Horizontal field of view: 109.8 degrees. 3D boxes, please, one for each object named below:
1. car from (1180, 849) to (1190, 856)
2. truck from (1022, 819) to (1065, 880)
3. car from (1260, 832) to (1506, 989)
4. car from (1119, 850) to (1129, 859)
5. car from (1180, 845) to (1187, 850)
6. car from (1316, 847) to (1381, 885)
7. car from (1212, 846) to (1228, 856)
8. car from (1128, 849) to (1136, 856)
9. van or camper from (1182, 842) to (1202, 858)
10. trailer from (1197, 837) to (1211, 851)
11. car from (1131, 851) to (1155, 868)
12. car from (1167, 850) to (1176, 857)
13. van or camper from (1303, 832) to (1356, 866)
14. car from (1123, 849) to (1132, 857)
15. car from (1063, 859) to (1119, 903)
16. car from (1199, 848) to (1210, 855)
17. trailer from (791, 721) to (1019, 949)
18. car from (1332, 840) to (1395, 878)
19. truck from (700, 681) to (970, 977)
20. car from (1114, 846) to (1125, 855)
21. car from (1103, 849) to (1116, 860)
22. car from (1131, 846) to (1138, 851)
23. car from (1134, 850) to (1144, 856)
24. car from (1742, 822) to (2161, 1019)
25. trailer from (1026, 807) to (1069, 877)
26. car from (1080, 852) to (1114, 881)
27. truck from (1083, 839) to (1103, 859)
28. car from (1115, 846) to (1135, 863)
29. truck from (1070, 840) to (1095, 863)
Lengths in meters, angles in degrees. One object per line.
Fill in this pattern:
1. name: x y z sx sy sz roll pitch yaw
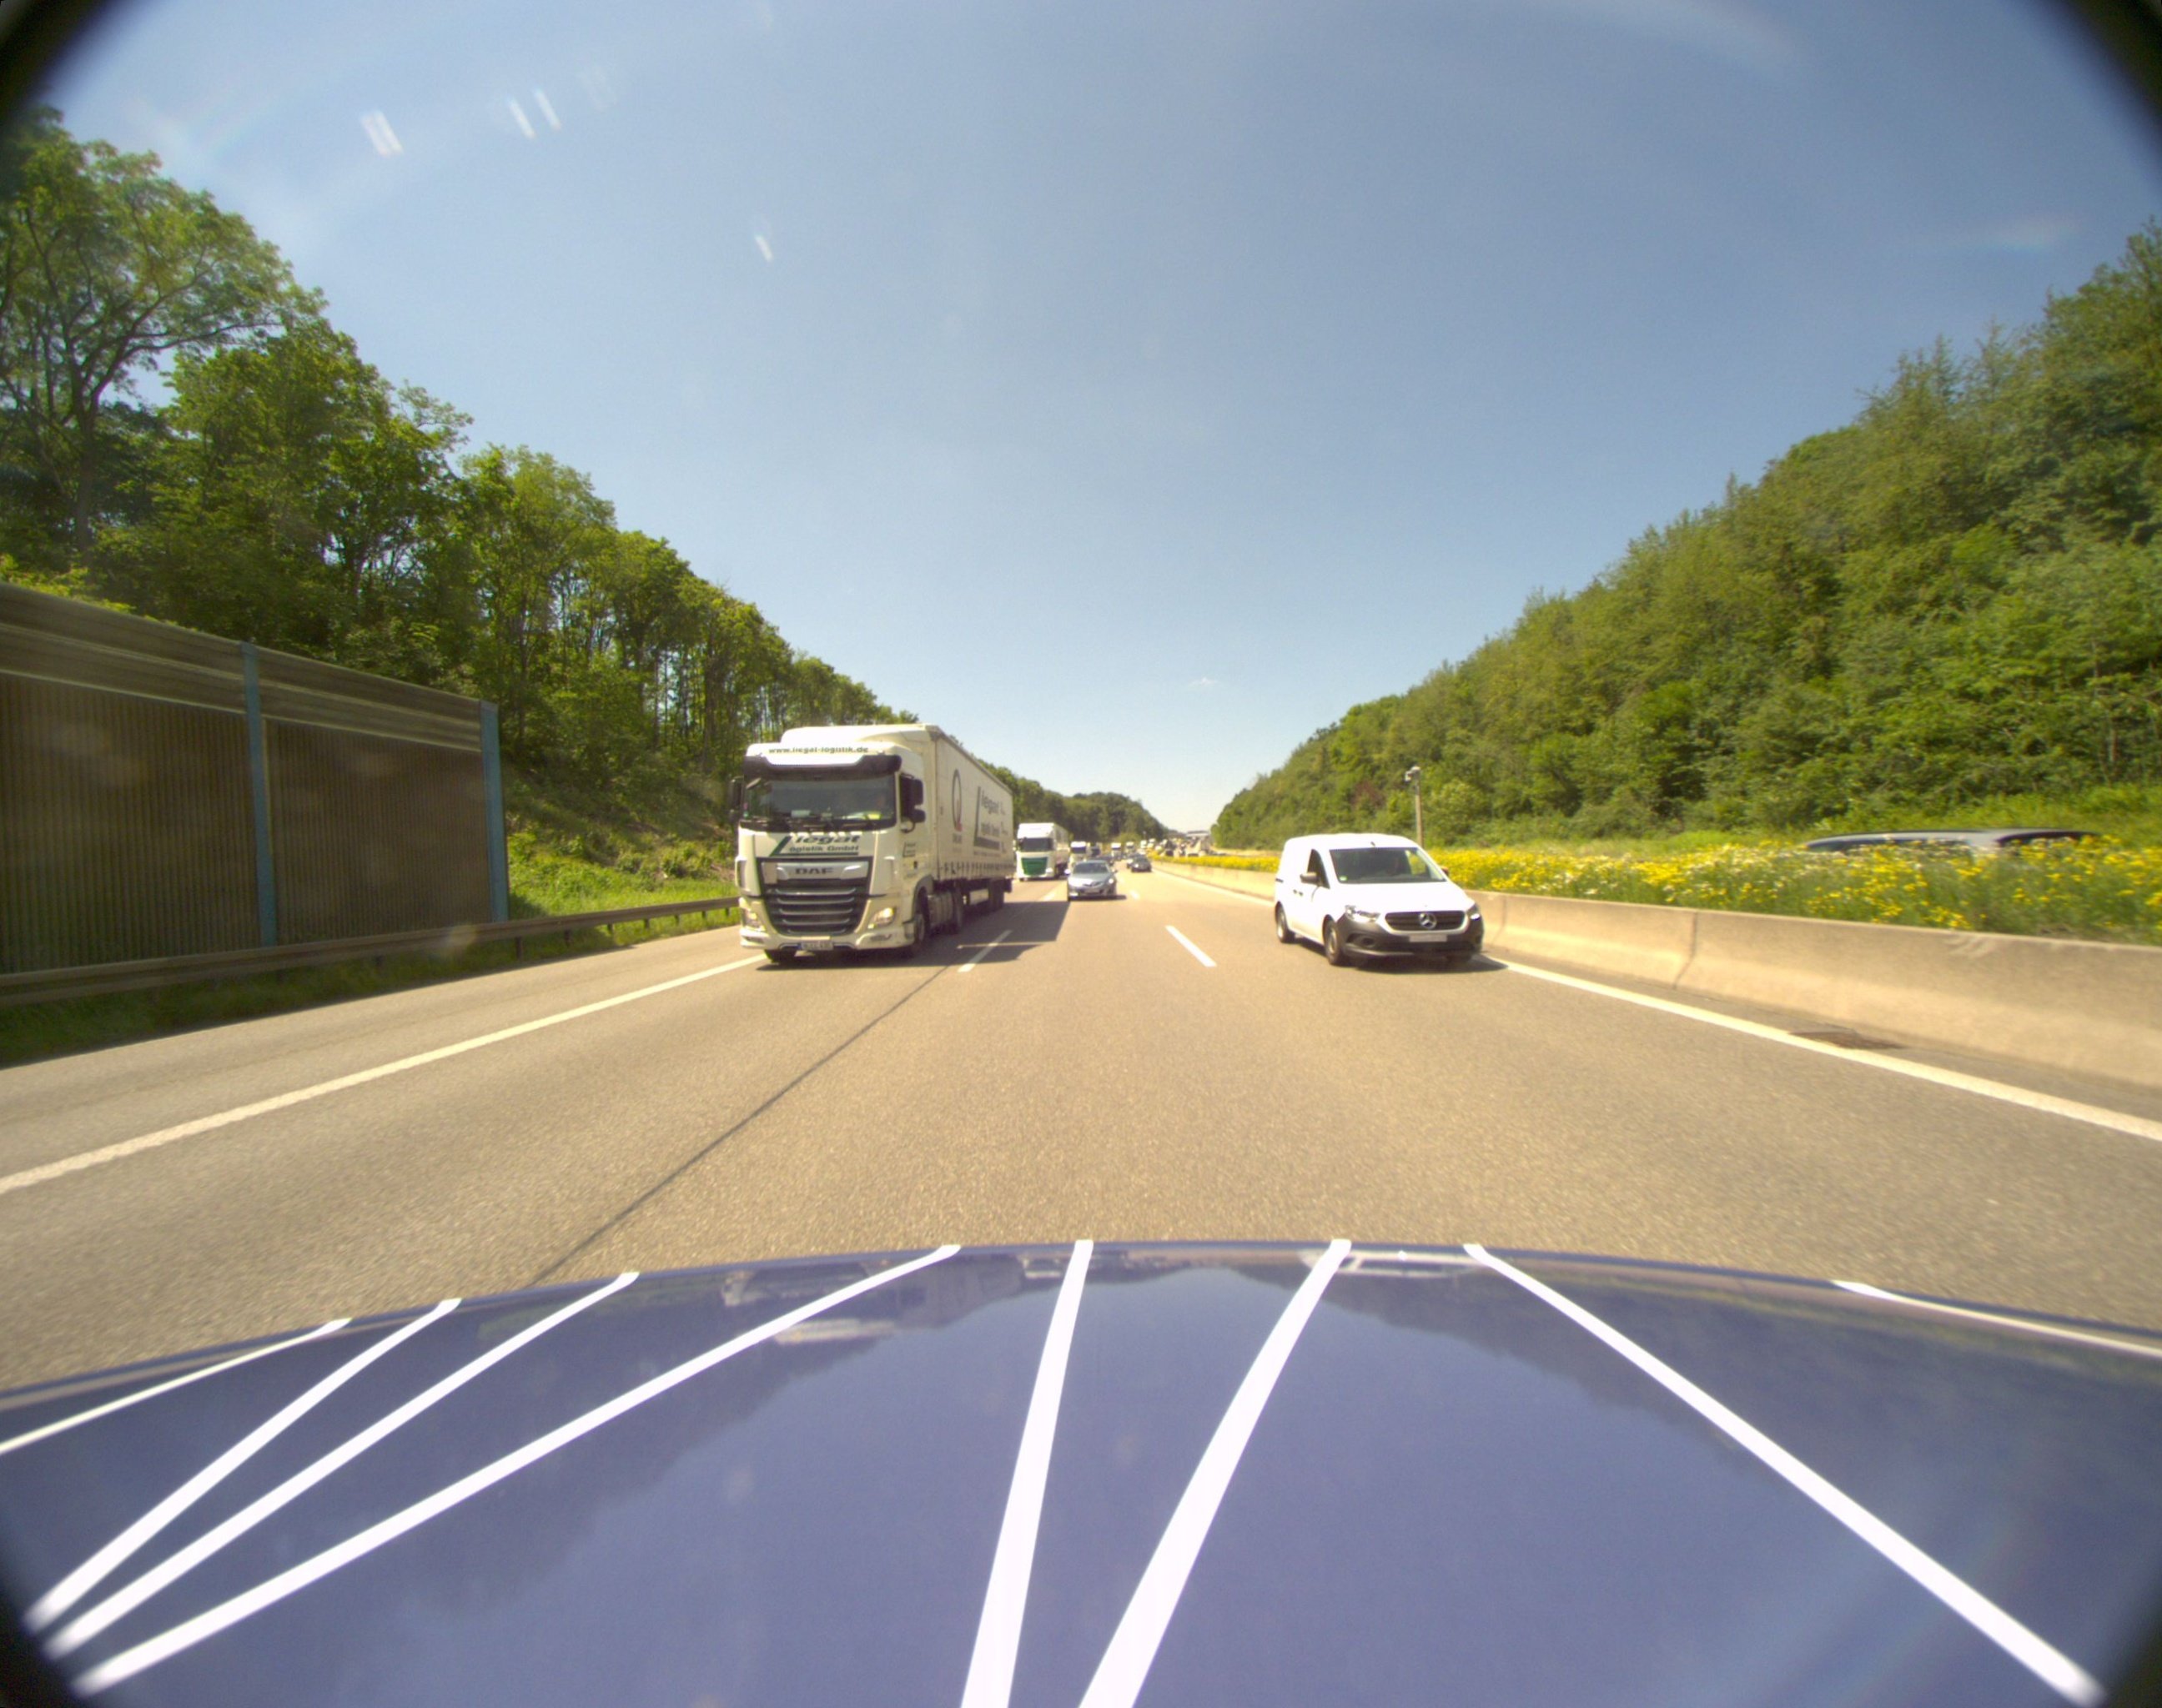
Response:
1. car: 24.346 -0.397 178.745 1.998 1.477 4.000 -2 1 3
2. truck: -2.591 -0.338 54.348 2.542 4.006 6.624 -2 1 1
3. car: 4.123 0.664 11.307 1.769 1.802 4.673 -2 0 0
4. car: 8.971 0.071 158.748 1.998 1.728 4.001 -2 1 5
5. car: 34.277 -2.158 255.040 1.998 1.563 4.000 -2 1 3
6. car: 11.114 0.442 31.819 1.481 1.434 3.563 -2 1 1
7. car: 23.001 -0.546 125.889 1.998 1.607 4.484 -2 0 3
8. car: 14.187 -0.407 212.090 1.997 1.728 4.001 -1 1 7
9. van or camper: 14.464 -0.544 99.296 1.887 2.002 4.587 -2 1 0
10. trailer: 37.690 -3.142 233.166 2.721 4.183 13.932 -2 1 3
11. car: 5.615 0.500 69.495 1.721 1.470 3.999 -2 0 -2
12. car: 19.991 -0.145 167.978 1.998 1.464 4.874 -2 1 5
13. van or camper: 19.828 -0.425 60.967 2.191 2.546 6.931 -2 1 2
14. car: 11.428 -0.190 185.518 1.997 1.728 4.001 -1 1 7
15. car: 0.429 0.937 28.359 1.887 1.458 4.248 -2 0 2
16. car: 27.956 -0.514 172.093 1.998 1.434 4.171 -2 1 2
17. trailer: -3.832 -0.302 20.842 2.792 4.180 13.245 -2 0 1
18. car: 15.684 0.228 42.500 1.998 2.002 4.567 -2 1 3
19. truck: -3.987 -0.334 13.917 2.793 4.180 5.870 -2 0 1
20. car: 11.738 -1.094 230.856 2.697 2.467 6.586 -1 1 7
21. car: 4.853 0.083 129.176 1.998 1.728 4.001 -2 1 5
22. car: 17.570 -1.752 249.644 1.997 1.728 4.001 -1 1 7
23. car: 13.374 -0.282 175.581 1.997 1.426 4.002 -2 1 7
24. car: 11.209 0.643 9.796 1.998 2.002 4.000 -2 1 3
25. trailer: -2.521 -0.989 62.556 2.574 5.011 15.269 -2 1 1
26. car: 1.026 0.737 46.908 1.887 1.696 4.085 -2 0 3
27. truck: 2.433 -1.072 151.510 3.557 3.695 7.551 -2 1 3
28. car: 5.158 0.036 90.181 1.999 2.002 3.998 -2 1 -1
29. truck: 0.319 -0.462 114.343 3.262 3.337 6.863 -2 1 4
